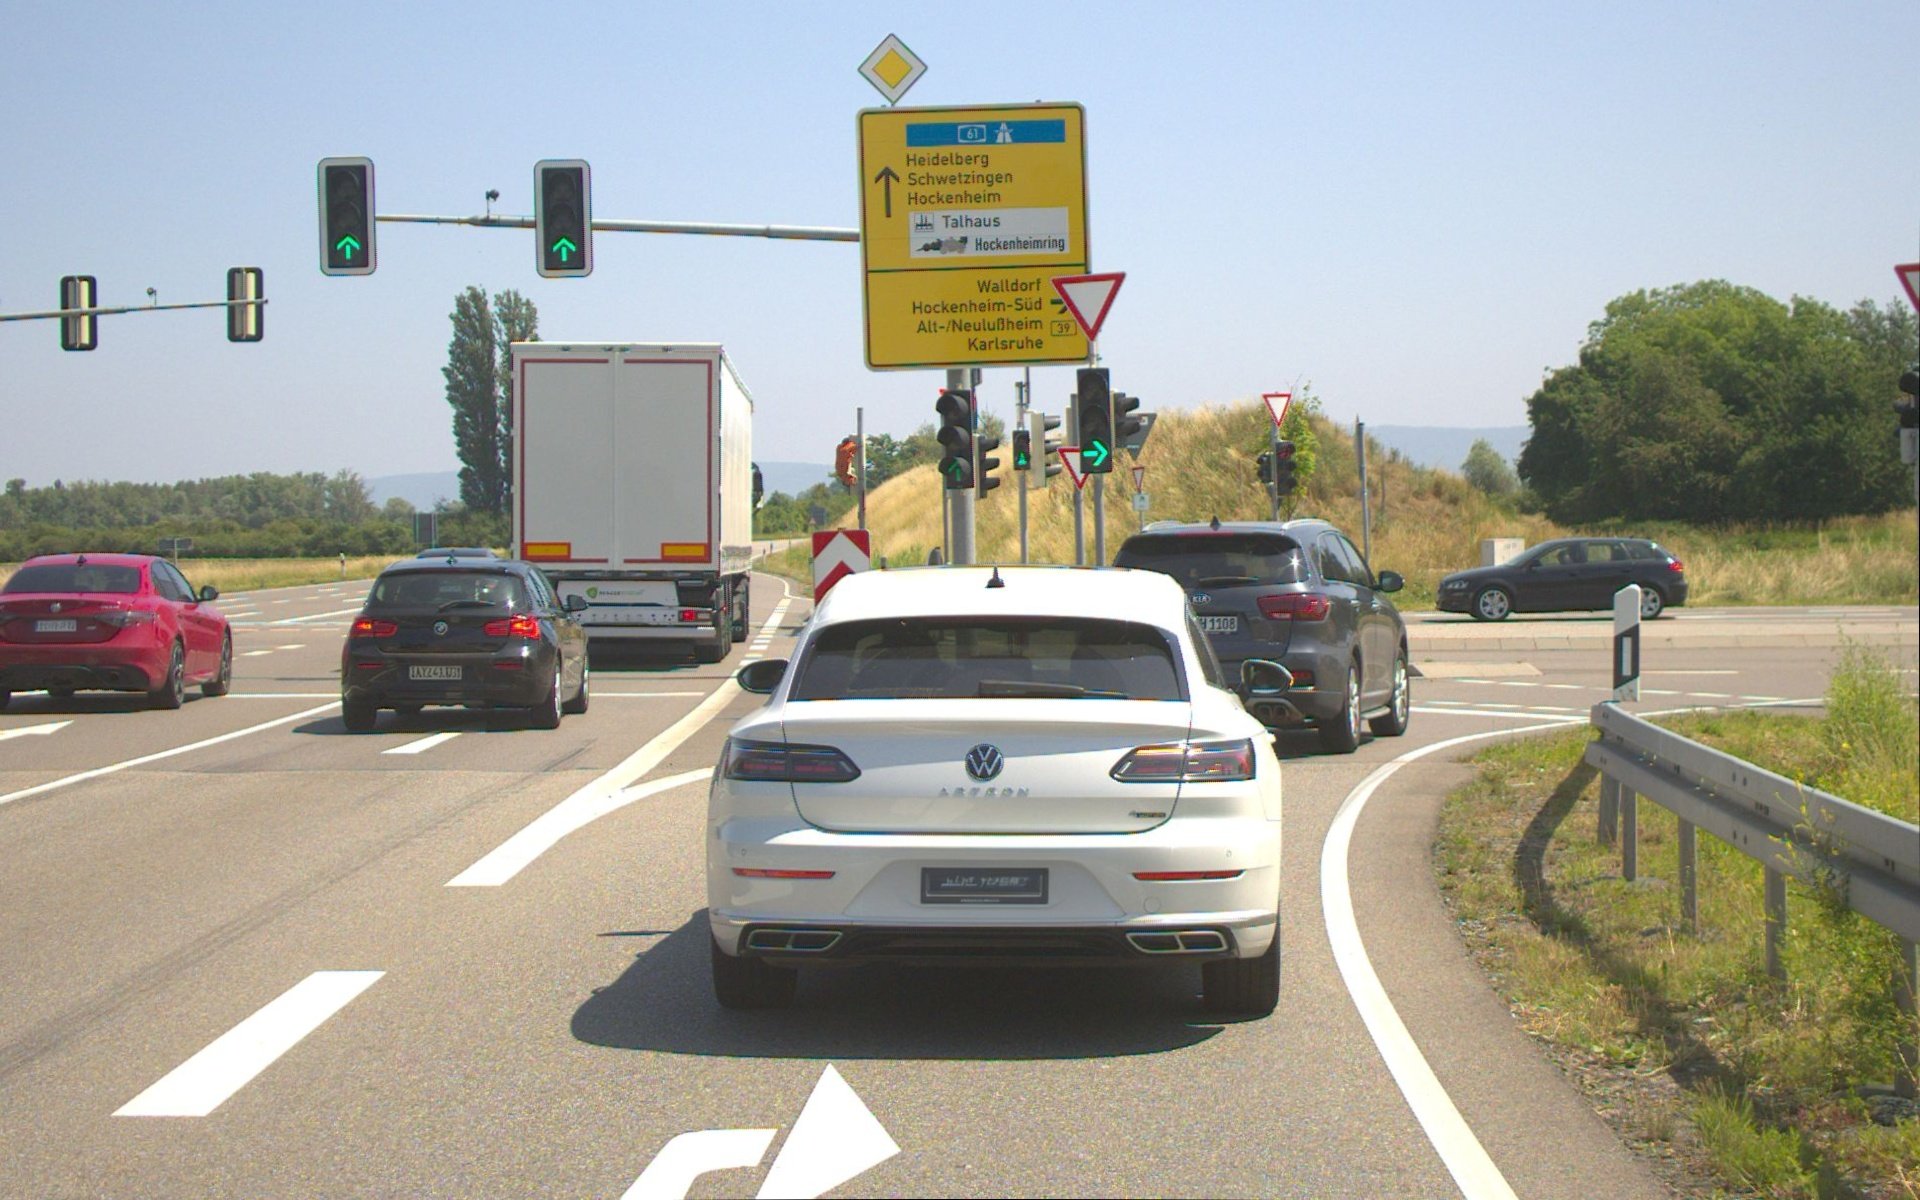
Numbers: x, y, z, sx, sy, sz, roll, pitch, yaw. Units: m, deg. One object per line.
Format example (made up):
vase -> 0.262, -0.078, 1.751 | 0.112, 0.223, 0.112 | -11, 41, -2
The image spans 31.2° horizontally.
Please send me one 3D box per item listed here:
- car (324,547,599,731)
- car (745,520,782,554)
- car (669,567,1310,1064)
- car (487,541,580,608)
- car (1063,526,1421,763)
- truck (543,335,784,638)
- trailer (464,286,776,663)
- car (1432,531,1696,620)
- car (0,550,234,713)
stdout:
car -> -4.218, 0.278, 29.690 | 1.784, 1.426, 4.381 | 1, 1, -1
car -> -11.060, -3.529, 192.960 | 1.980, 1.862, 4.468 | 0, 1, -4
car -> 0.056, 0.597, 12.209 | 1.848, 1.428, 4.608 | 0, 1, -1
car -> -9.840, -0.601, 79.493 | 1.809, 1.488, 4.022 | 0, 1, -3
car -> 2.204, 0.276, 25.700 | 1.936, 1.611, 4.375 | 0, 1, 15
truck -> -4.617, -1.753, 54.792 | 3.381, 4.527, 6.373 | 0, 1, -1
trailer -> -4.442, -1.612, 47.863 | 3.381, 4.527, 12.873 | 0, 1, -1
car -> 10.351, -0.432, 59.135 | 4.260, 1.364, 1.776 | -2, 2, 3
car -> -8.188, 0.249, 33.144 | 1.749, 1.416, 4.567 | 0, 1, -4
